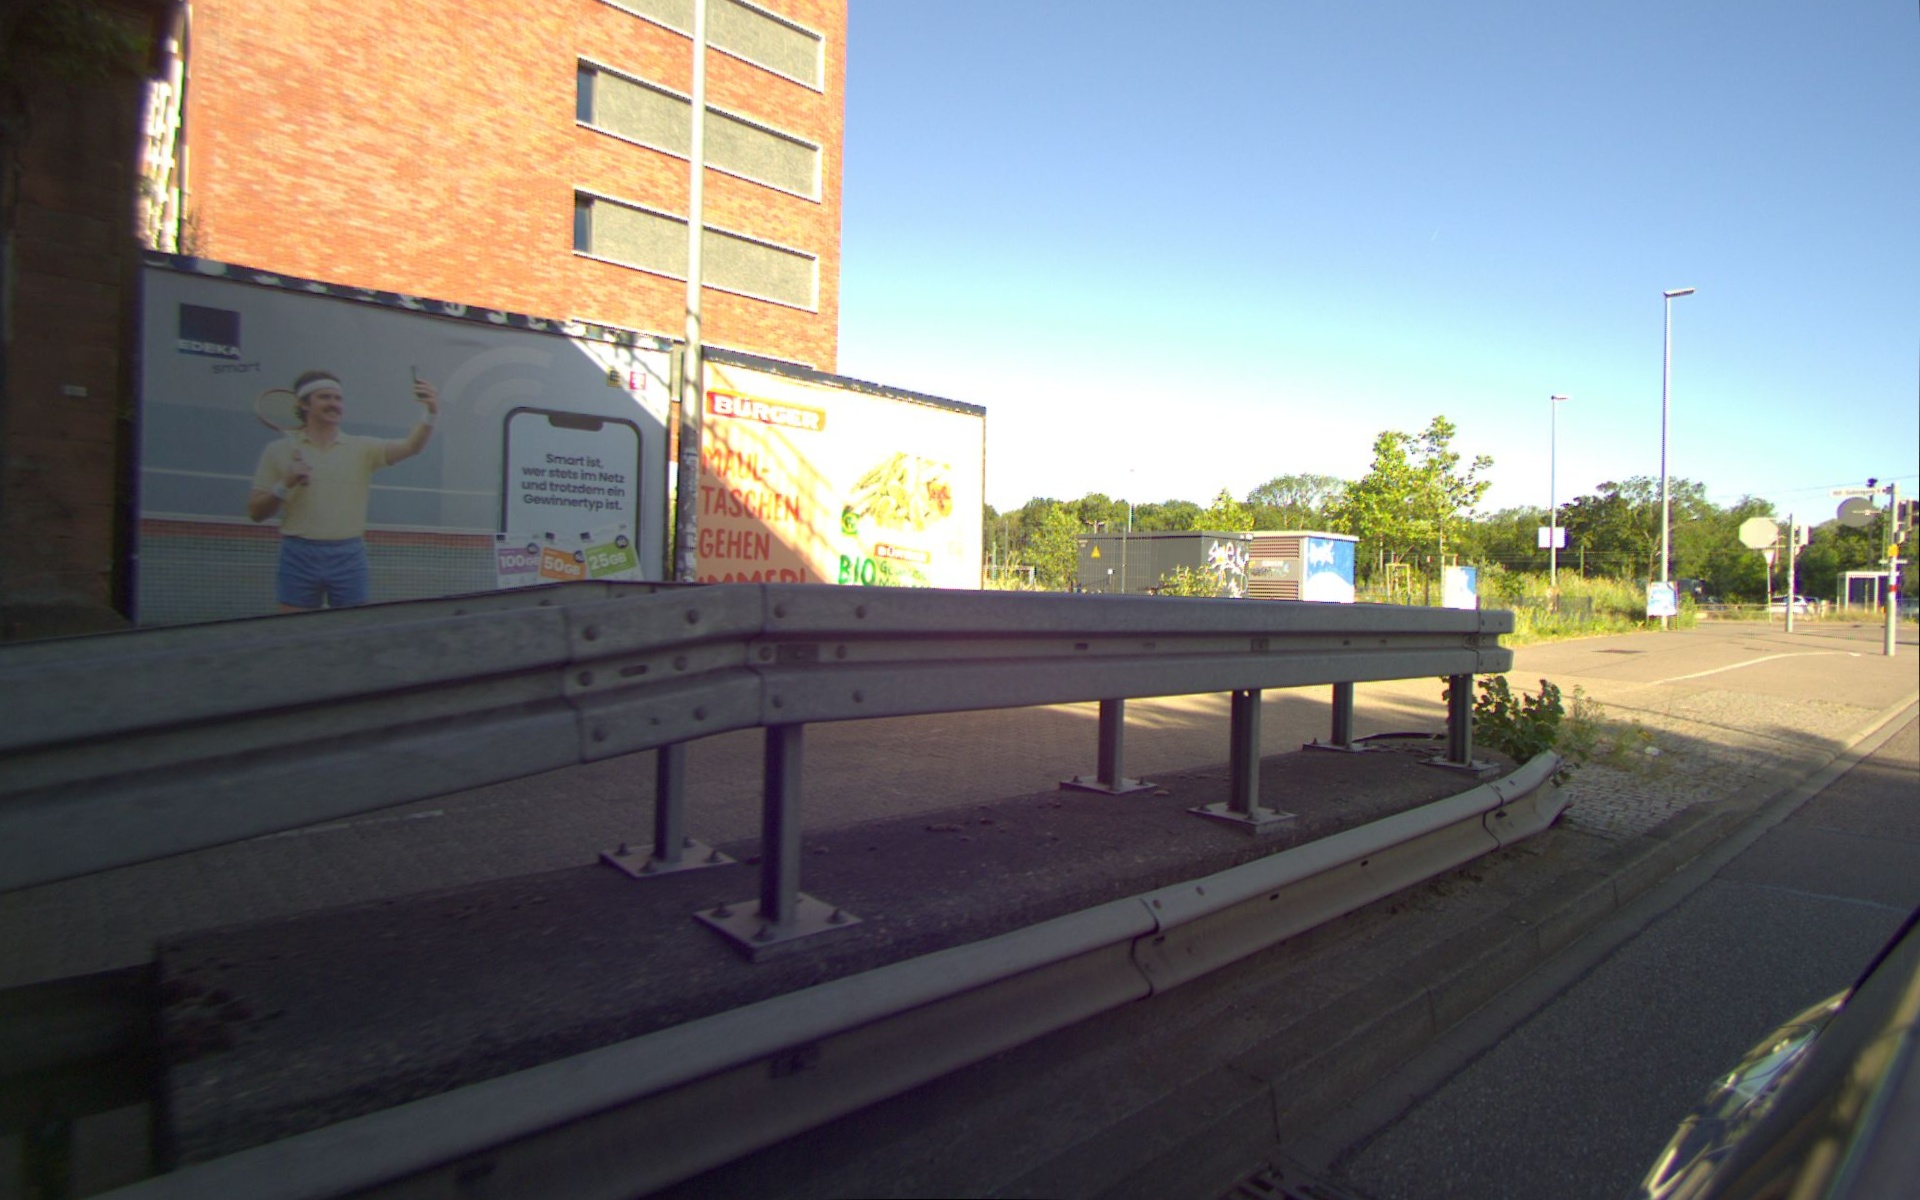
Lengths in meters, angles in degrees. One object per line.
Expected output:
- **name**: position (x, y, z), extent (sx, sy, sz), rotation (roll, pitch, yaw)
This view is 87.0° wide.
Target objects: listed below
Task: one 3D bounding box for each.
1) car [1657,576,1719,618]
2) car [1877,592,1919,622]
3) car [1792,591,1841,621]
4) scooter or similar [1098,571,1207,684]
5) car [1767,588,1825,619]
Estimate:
- **car**: position (46.127, -0.200, 64.069), extent (2.395, 2.548, 5.423), rotation (0, 0, 45)
- **car**: position (58.467, 0.418, 61.998), extent (2.155, 1.752, 4.452), rotation (1, 0, 26)
- **car**: position (54.211, 0.334, 64.046), extent (4.134, 1.831, 1.981), rotation (0, 0, -44)
- **scooter or similar**: position (2.194, 0.284, 11.474), extent (1.268, 1.212, 0.538), rotation (0, 1, -41)
- **car**: position (43.291, 0.145, 52.355), extent (4.203, 1.530, 1.887), rotation (0, 0, -44)
